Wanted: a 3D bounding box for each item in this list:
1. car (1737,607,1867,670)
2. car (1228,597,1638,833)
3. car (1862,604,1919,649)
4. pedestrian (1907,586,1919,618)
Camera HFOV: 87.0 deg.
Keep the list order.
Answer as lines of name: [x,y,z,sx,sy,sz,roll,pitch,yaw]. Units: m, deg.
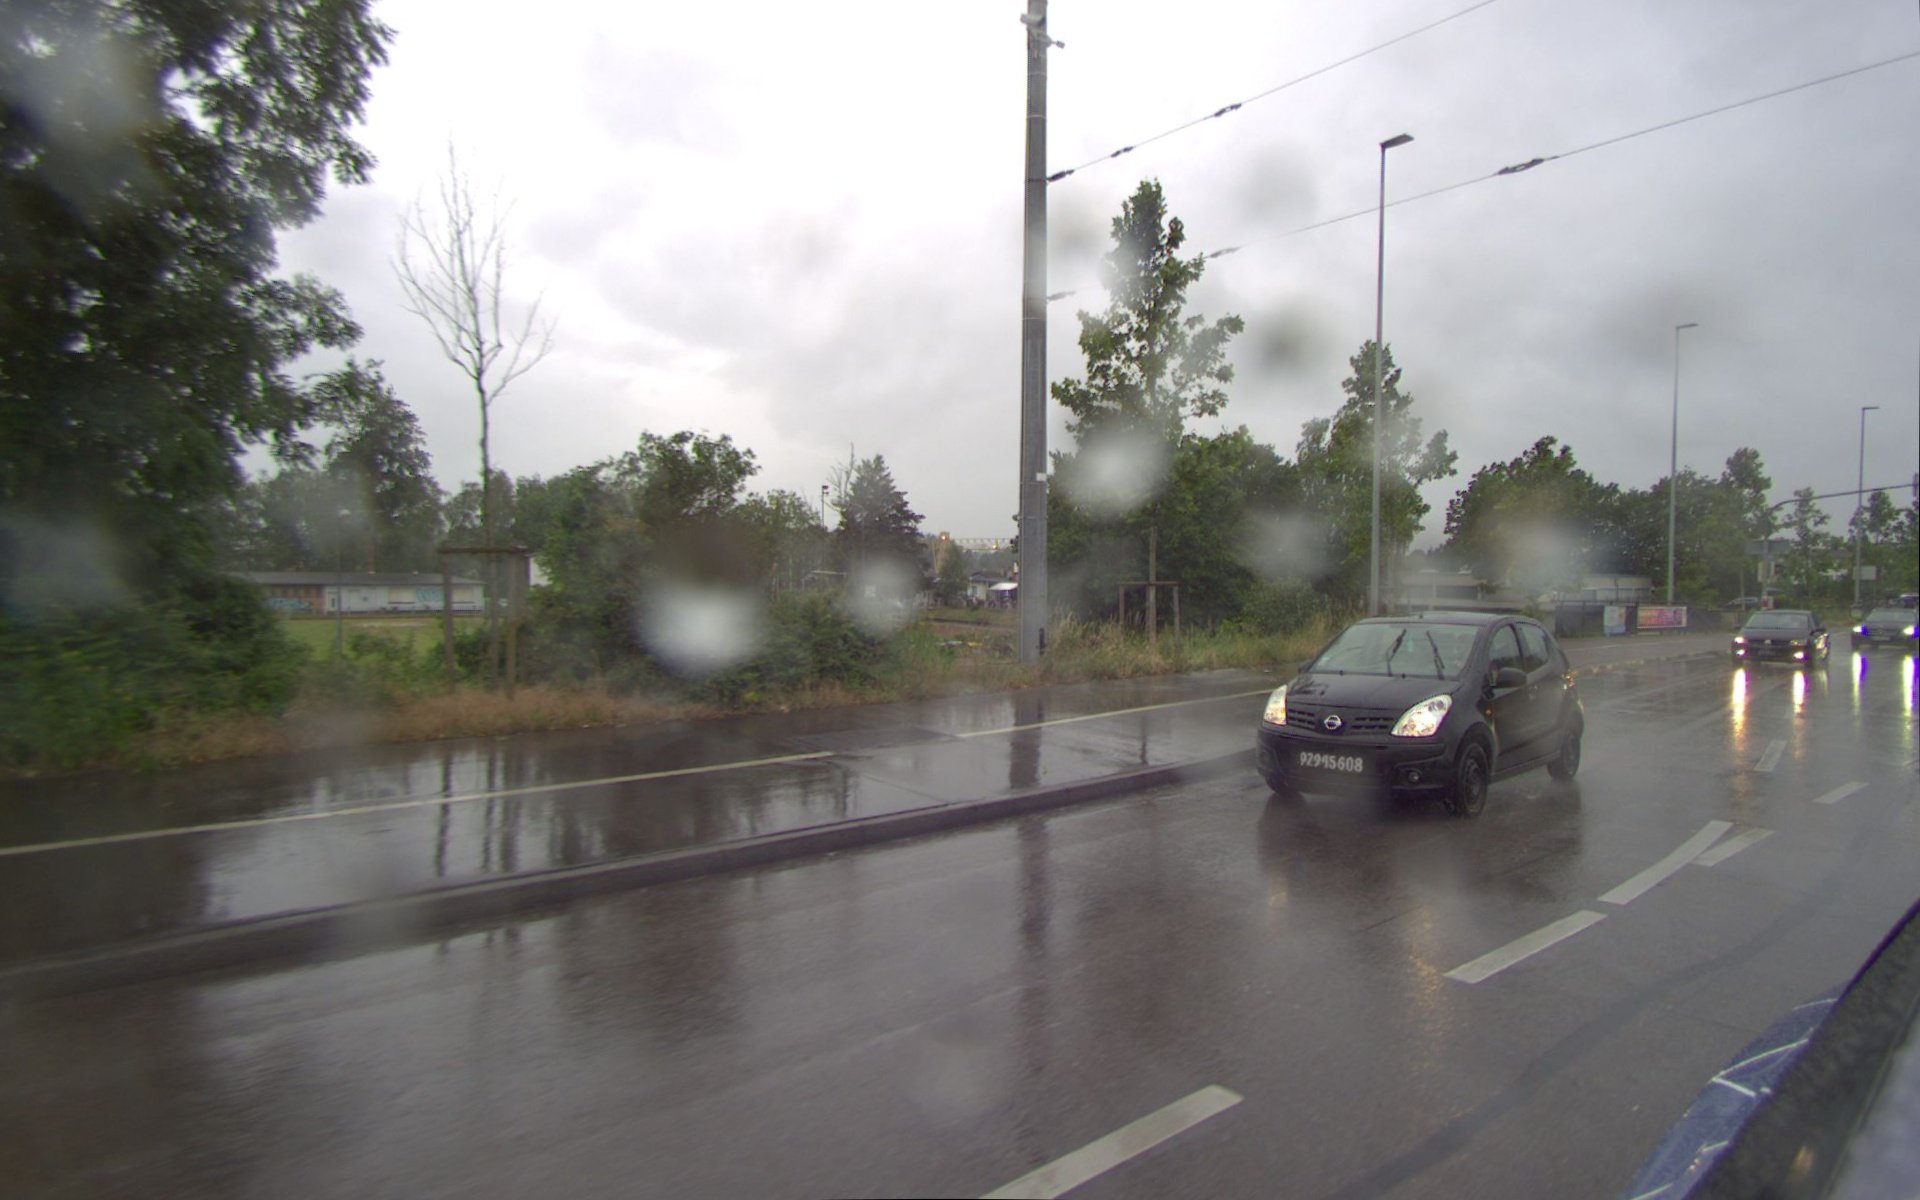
car: [21.814,0.966,26.179,3.967,1.503,1.716,1,-1,-37]
car: [4.093,0.755,8.424,4.023,1.480,1.773,1,-1,-44]
car: [34.017,0.944,36.314,3.967,1.544,1.716,1,-1,-37]
pedestrian: [49.639,0.111,52.415,0.606,1.631,0.734,0,2,-37]
